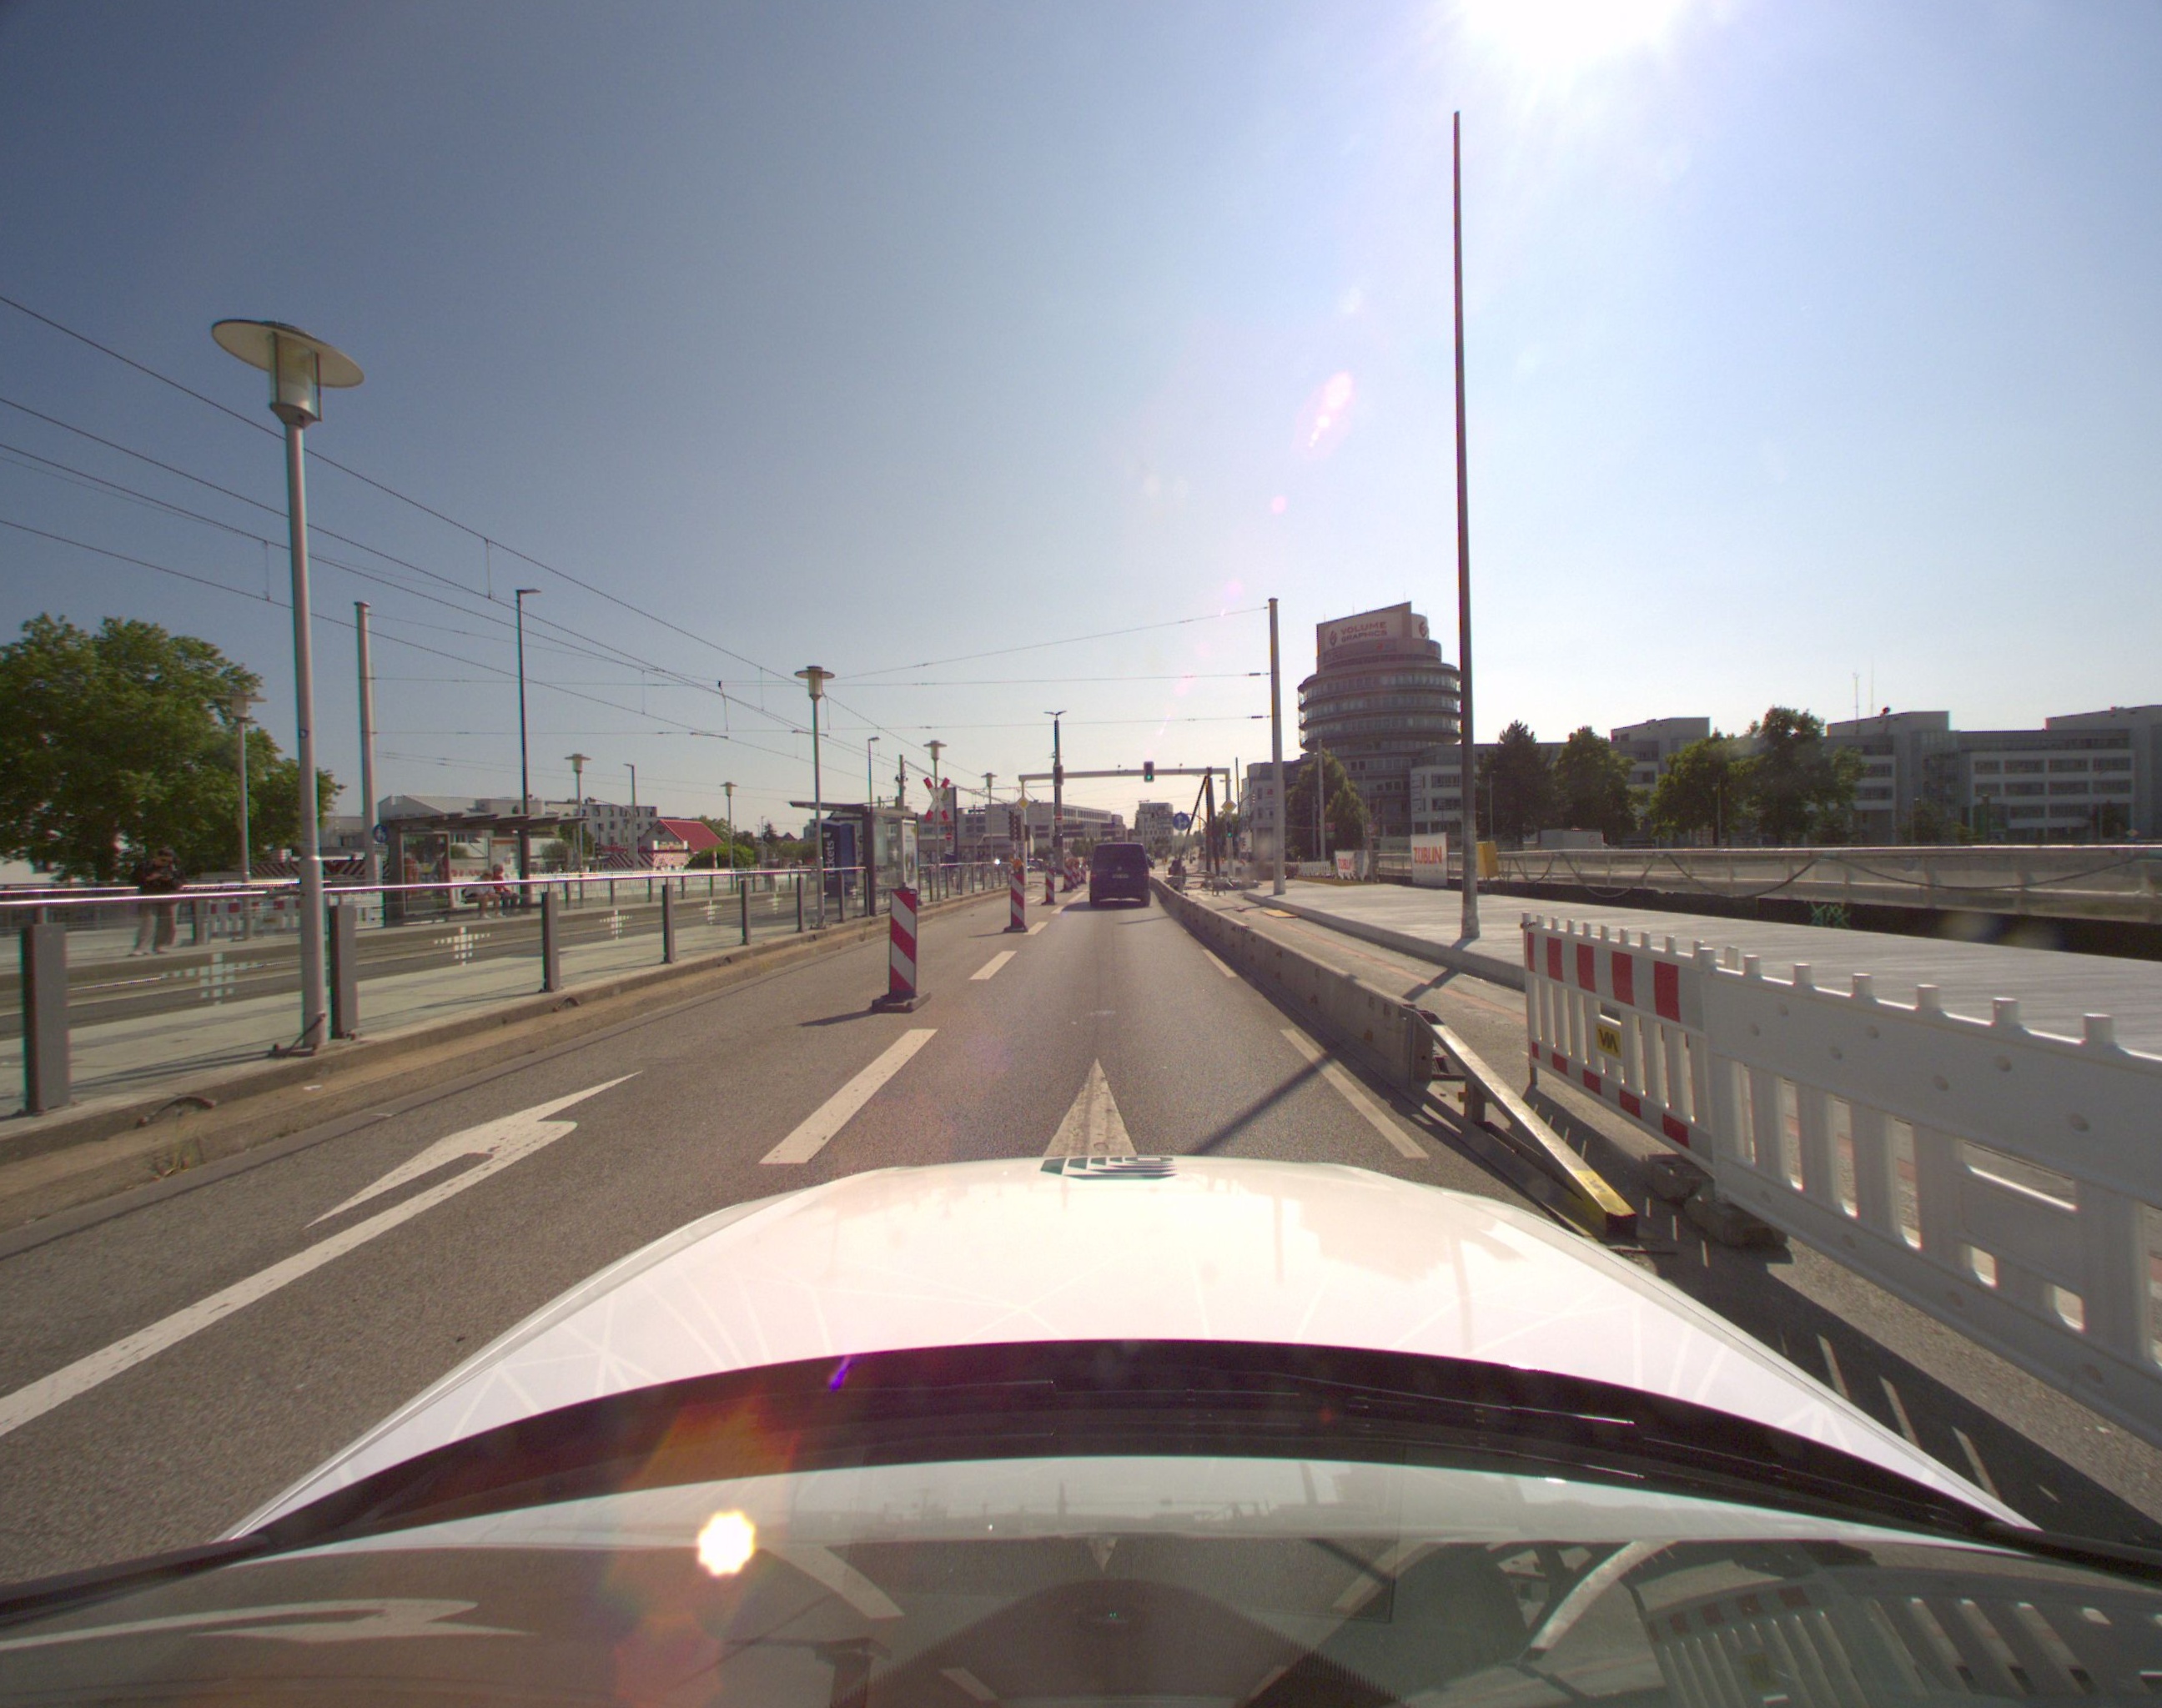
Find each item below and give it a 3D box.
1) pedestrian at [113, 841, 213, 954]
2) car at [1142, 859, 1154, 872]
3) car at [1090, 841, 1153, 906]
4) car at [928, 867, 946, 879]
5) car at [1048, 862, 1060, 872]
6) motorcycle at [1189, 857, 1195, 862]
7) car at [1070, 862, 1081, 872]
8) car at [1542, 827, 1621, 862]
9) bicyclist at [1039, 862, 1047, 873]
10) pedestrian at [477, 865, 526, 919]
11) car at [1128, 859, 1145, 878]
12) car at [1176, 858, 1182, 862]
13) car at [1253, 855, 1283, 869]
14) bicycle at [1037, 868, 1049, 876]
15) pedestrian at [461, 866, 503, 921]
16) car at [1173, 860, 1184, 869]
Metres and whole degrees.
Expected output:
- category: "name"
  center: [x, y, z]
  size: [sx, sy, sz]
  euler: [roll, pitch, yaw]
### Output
- category: "pedestrian"
  center: [-13.935, 0.636, 12.380]
  size: [0.655, 1.654, 0.742]
  euler: [-1, 0, 13]
- category: "car"
  center: [9.169, 1.600, 111.199]
  size: [1.638, 1.728, 3.722]
  euler: [0, 0, 5]
- category: "car"
  center: [1.291, 0.544, 26.243]
  size: [1.880, 1.934, 4.003]
  euler: [0, 1, 2]
- category: "car"
  center: [-22.366, 2.938, 126.434]
  size: [1.770, 1.538, 4.003]
  euler: [-3, 0, 3]
- category: "car"
  center: [-4.355, 2.078, 133.165]
  size: [1.741, 1.486, 4.001]
  euler: [-2, 0, 1]
- category: "motorcycle"
  center: [25.227, 1.241, 185.246]
  size: [1.155, 1.242, 3.016]
  euler: [-1, 0, 10]
- category: "car"
  center: [-0.869, 2.077, 132.706]
  size: [1.741, 1.481, 4.001]
  euler: [-2, 0, 1]
- category: "car"
  center: [42.610, -0.803, 69.357]
  size: [5.964, 2.887, 2.333]
  euler: [0, 1, -17]
- category: "bicyclist"
  center: [-5.892, 2.118, 125.332]
  size: [0.868, 1.579, 0.974]
  euler: [3, 0, 17]
- category: "pedestrian"
  center: [-14.235, 0.925, 20.014]
  size: [0.645, 1.274, 0.698]
  euler: [-1, 0, 5]
- category: "car"
  center: [5.489, 1.404, 80.742]
  size: [1.638, 1.728, 4.005]
  euler: [0, 0, 5]
- category: "car"
  center: [30.976, 1.825, 256.604]
  size: [1.542, 1.340, 3.016]
  euler: [0, 0, 1]
- category: "car"
  center: [25.462, 1.115, 110.977]
  size: [3.798, 1.797, 1.682]
  euler: [0, 1, 2]
- category: "bicycle"
  center: [-5.910, 2.784, 125.357]
  size: [0.874, 1.069, 2.819]
  euler: [3, 0, 17]
- category: "pedestrian"
  center: [-14.286, 0.934, 19.433]
  size: [0.645, 1.274, 0.453]
  euler: [-1, 0, 5]
- category: "car"
  center: [16.828, 1.800, 140.532]
  size: [1.735, 1.475, 3.891]
  euler: [-1, 0, 6]
